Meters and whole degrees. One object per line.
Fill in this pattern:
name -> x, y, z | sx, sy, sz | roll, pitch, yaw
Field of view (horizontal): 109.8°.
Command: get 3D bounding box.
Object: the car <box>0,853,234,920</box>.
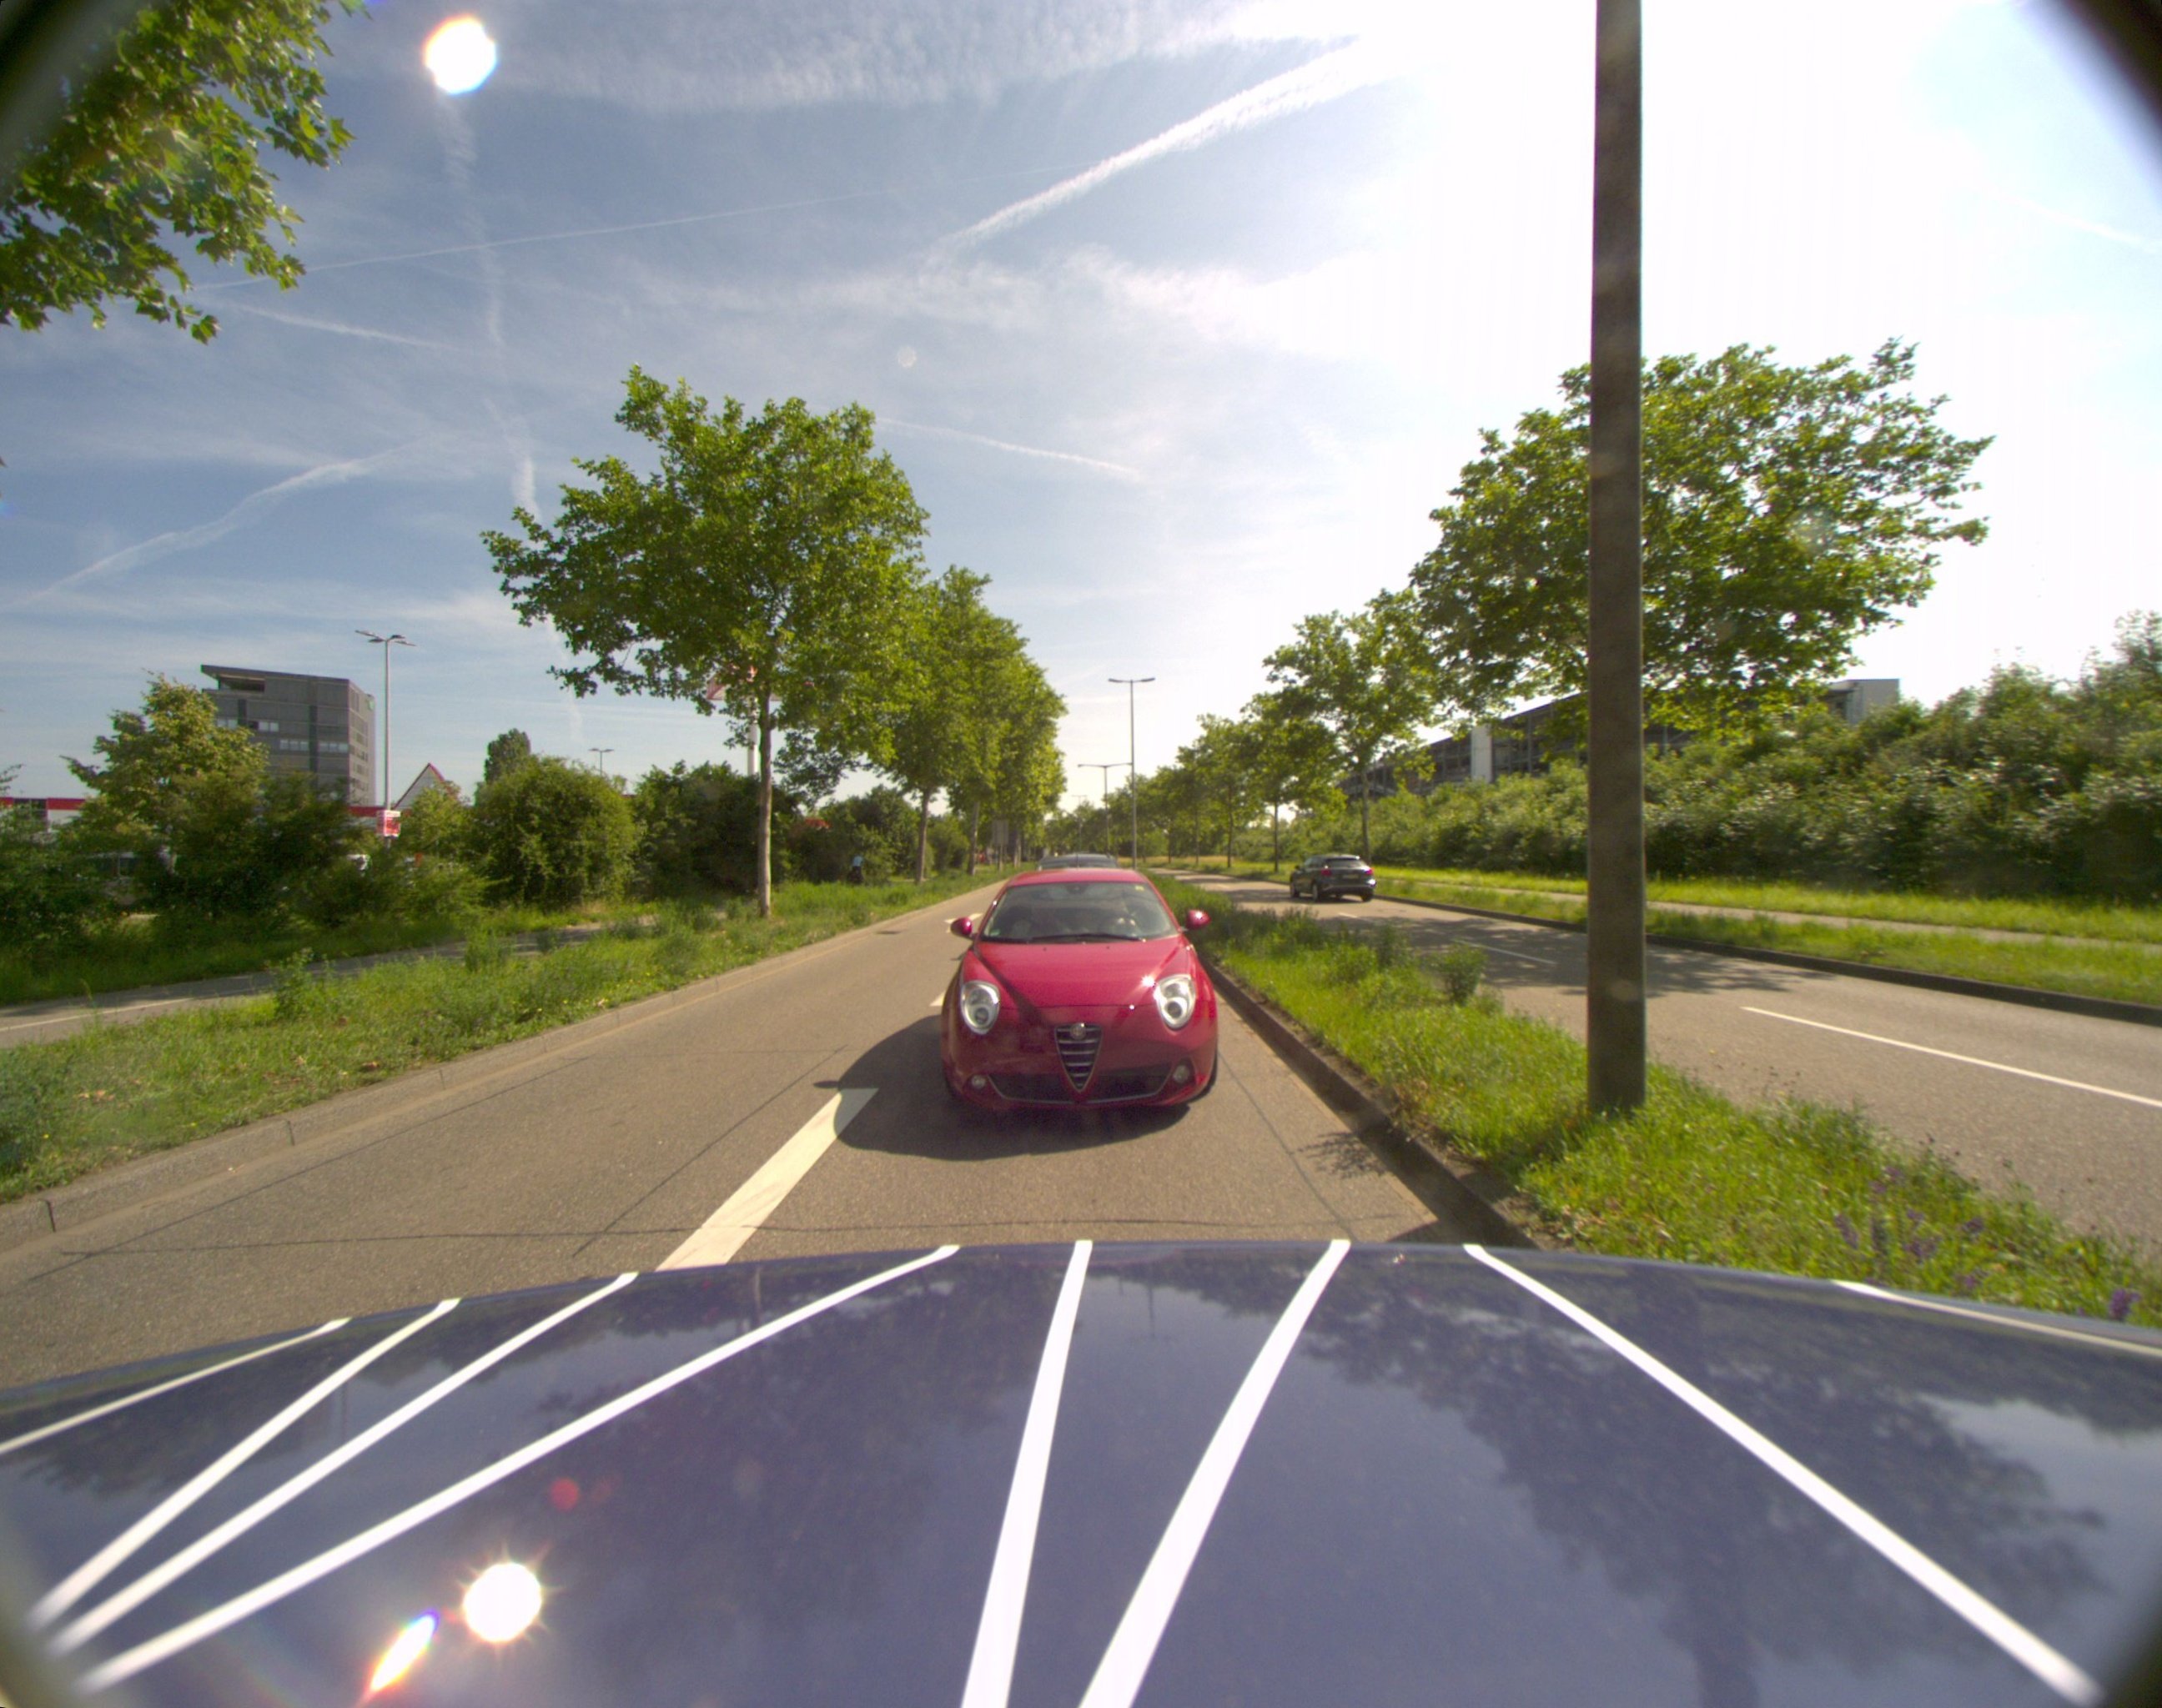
car -> -25.081, 0.774, 19.693 | 3.870, 1.576, 1.844 | -1, 1, -38

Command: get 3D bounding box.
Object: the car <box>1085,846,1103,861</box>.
car -> 2.195, -0.090, 127.494 | 2.065, 2.396, 5.534 | 0, 0, -9

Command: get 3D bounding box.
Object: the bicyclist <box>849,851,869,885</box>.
bicyclist -> -10.912, 0.677, 37.368 | 0.687, 1.622, 1.002 | 0, 1, 1

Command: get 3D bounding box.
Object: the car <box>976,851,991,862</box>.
car -> -22.705, 0.578, 176.918 | 2.067, 2.396, 5.995 | 0, 0, -20

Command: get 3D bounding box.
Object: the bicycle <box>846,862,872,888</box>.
bicycle -> -10.913, 1.002, 37.361 | 0.687, 1.230, 1.934 | 0, 1, 1

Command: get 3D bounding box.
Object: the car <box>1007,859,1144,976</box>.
car -> -0.047, 0.896, 12.576 | 1.874, 1.536, 4.081 | -1, 0, 1

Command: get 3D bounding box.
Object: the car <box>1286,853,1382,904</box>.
car -> 8.216, 0.750, 25.036 | 1.868, 1.459, 3.937 | -1, 1, 0

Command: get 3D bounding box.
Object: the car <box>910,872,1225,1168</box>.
car -> -0.046, 0.951, 6.069 | 1.658, 1.430, 3.908 | -2, 0, 1
